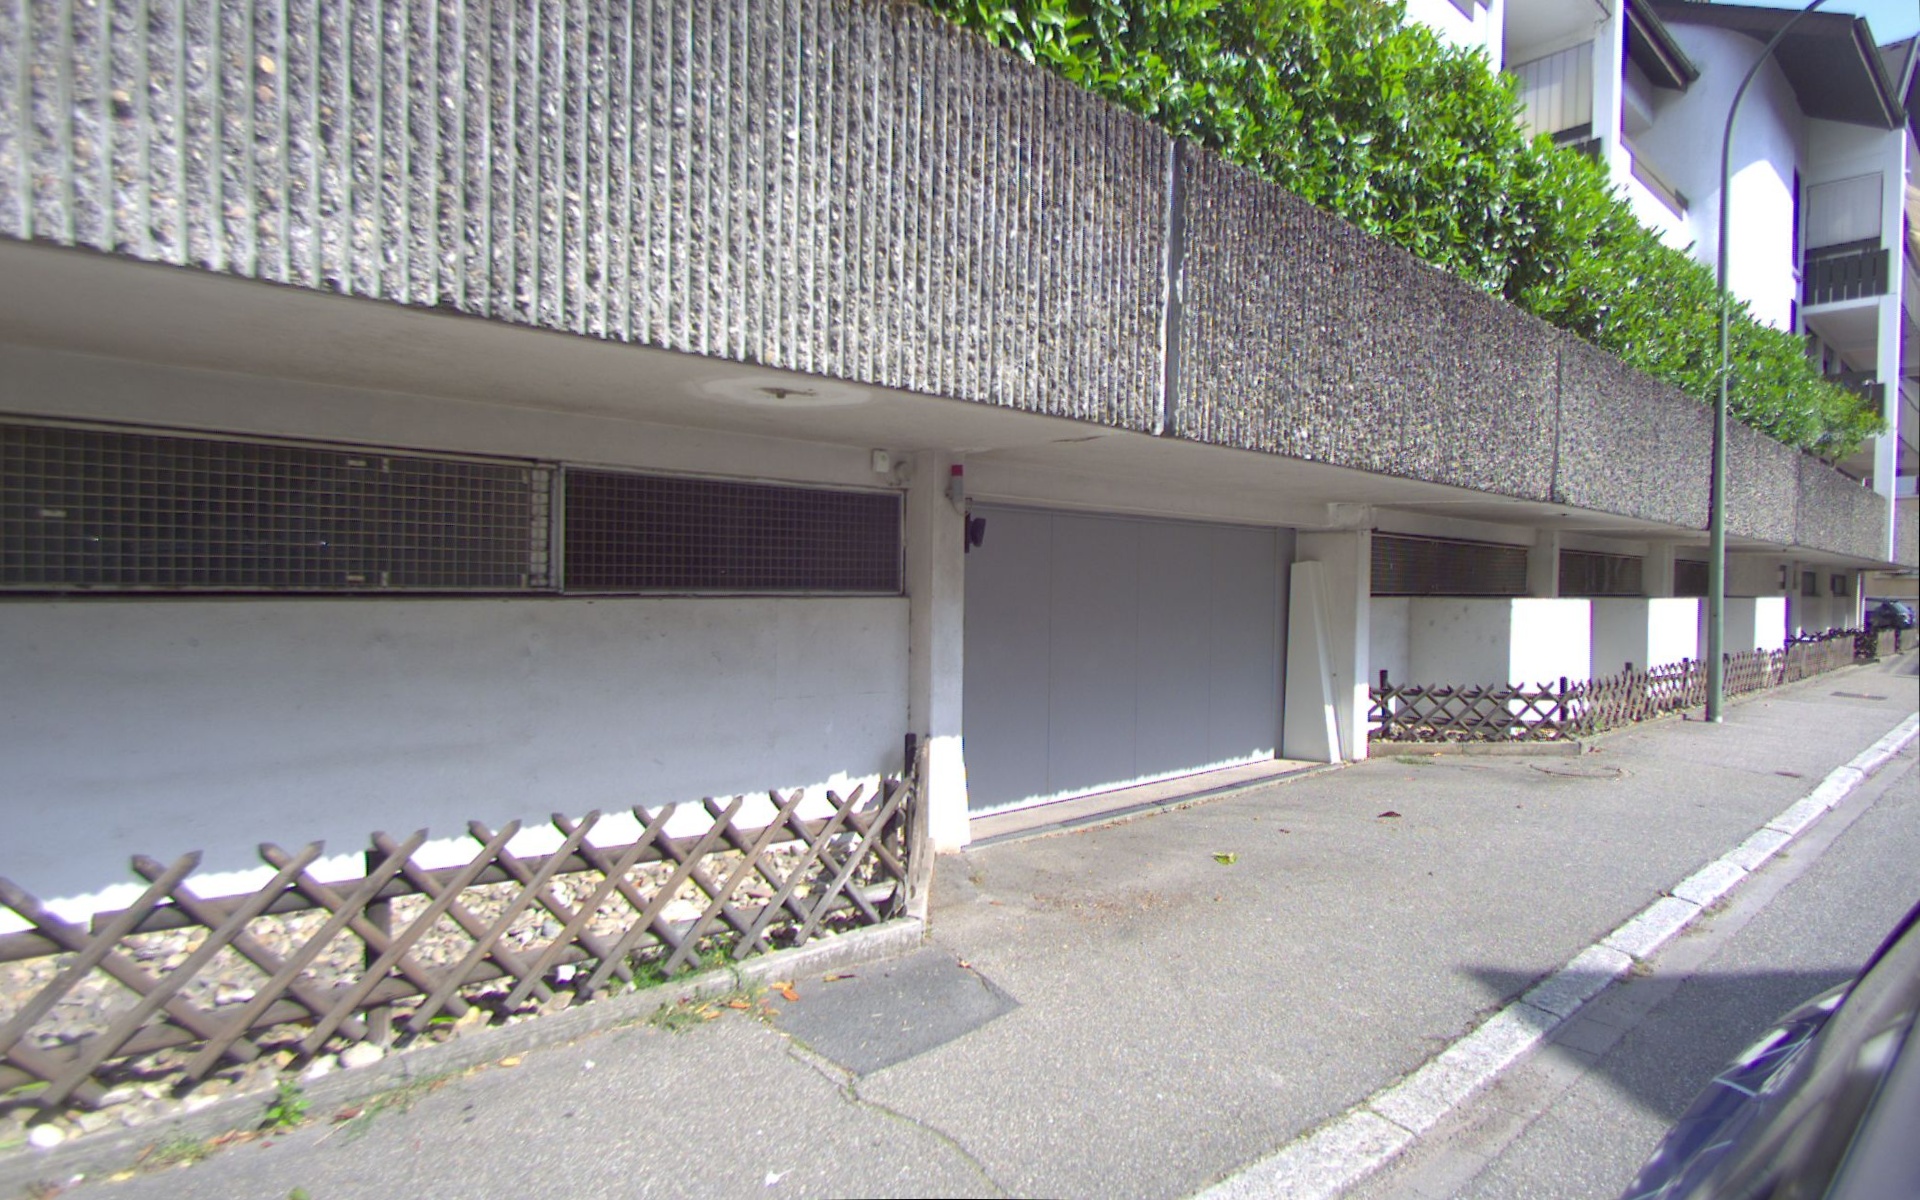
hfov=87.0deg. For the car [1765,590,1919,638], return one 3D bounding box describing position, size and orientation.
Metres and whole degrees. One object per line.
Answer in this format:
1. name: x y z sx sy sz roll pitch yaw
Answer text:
1. car: 29.025 0.436 33.276 1.671 1.498 3.831 1 -1 -43
